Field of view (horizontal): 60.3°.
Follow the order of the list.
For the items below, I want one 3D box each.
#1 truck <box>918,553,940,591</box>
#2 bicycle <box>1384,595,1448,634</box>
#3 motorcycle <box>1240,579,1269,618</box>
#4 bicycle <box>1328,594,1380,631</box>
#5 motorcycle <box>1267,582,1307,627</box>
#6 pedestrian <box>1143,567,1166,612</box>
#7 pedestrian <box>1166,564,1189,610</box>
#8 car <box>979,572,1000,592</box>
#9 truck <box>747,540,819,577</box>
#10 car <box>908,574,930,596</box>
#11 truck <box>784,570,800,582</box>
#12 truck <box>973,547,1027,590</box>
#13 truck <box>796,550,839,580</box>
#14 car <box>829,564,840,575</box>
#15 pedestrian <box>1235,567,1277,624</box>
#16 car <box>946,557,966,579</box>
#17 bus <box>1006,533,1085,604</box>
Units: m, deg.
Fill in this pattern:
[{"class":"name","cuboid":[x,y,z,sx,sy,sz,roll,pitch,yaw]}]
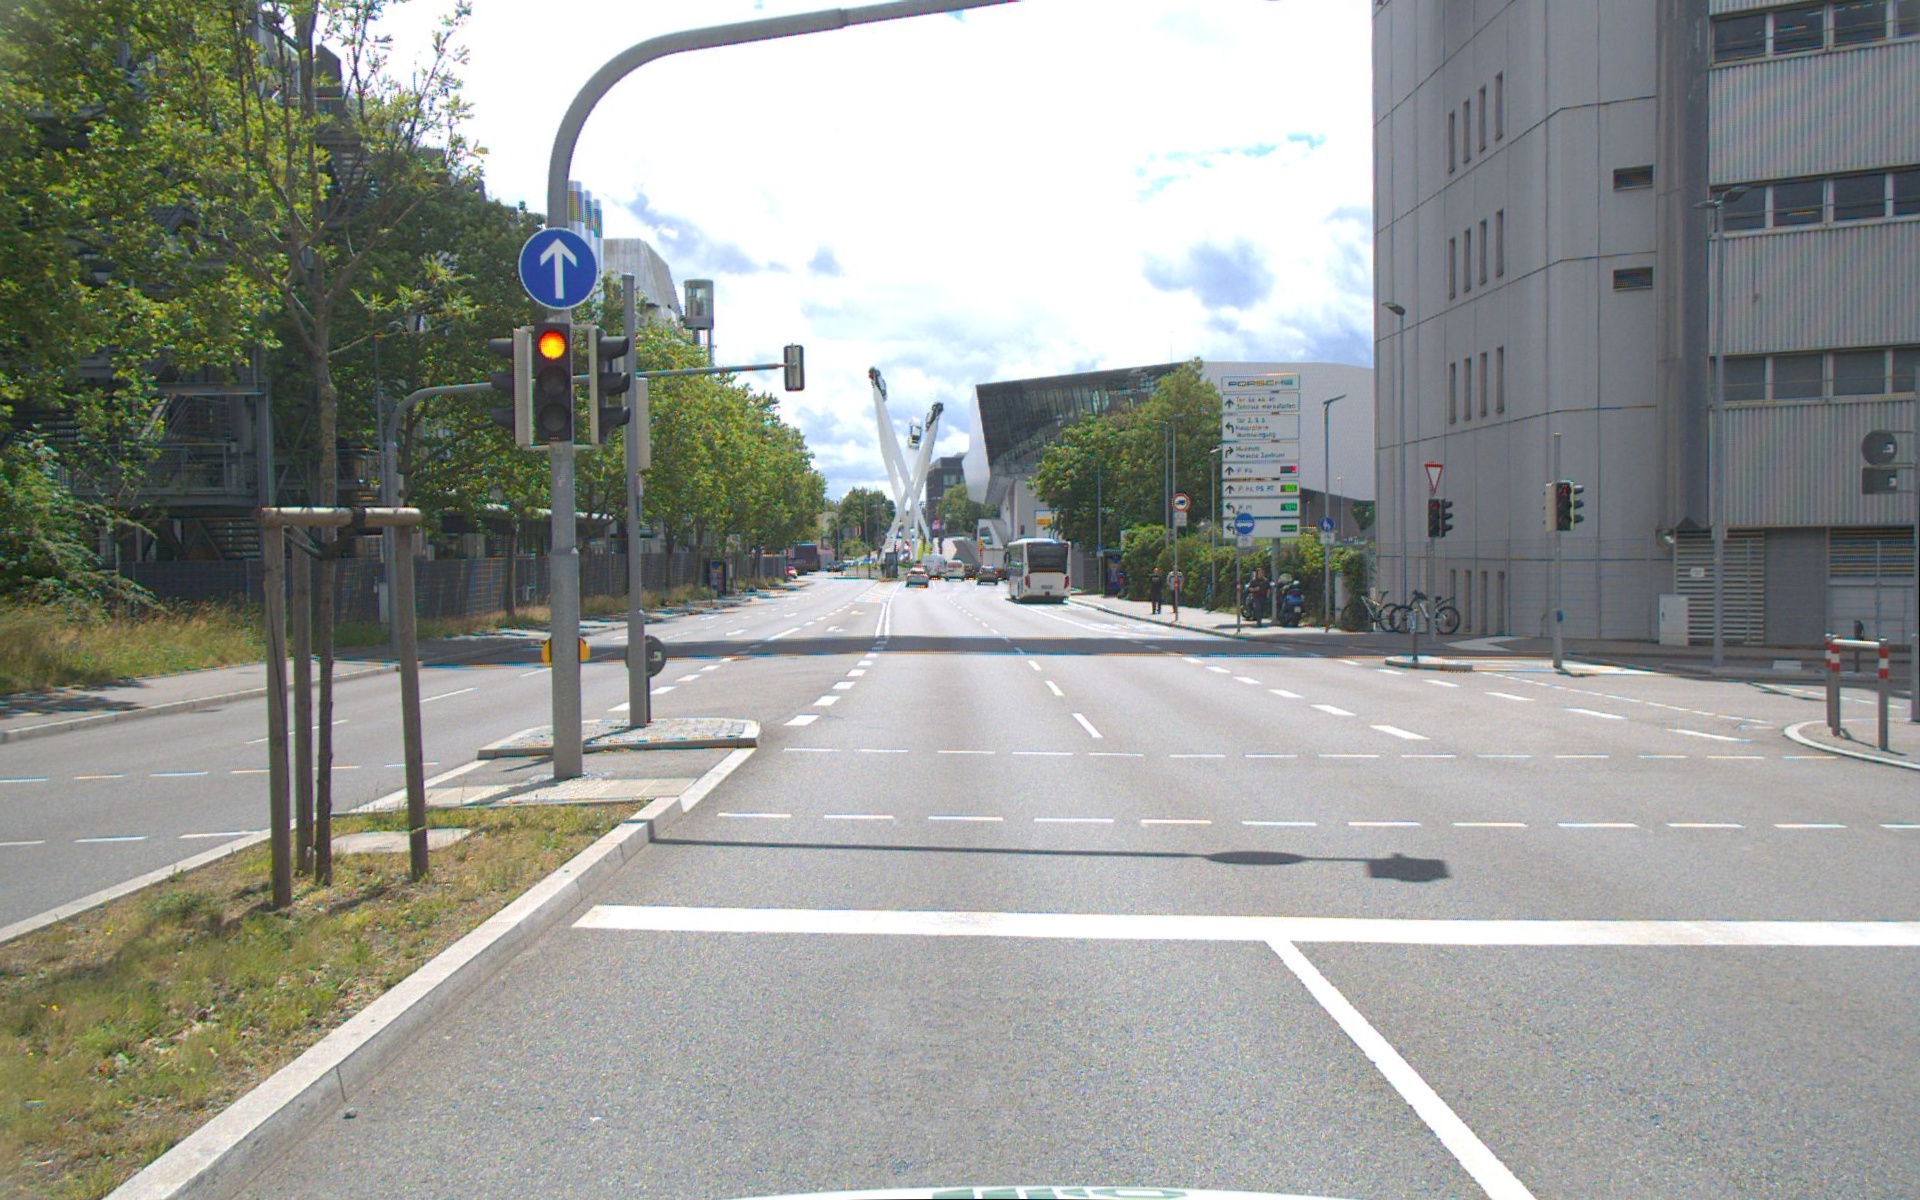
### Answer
[{"class":"truck","cuboid":[-3.271,-2.964,175.106,2.343,3.965,6.176,0,1,-1]},{"class":"bicycle","cuboid":[11.545,0.356,41.921,0.392,0.953,1.912,0,1,-26]},{"class":"motorcycle","cuboid":[9.942,-0.060,55.962,0.562,1.224,2.024,-2,1,-1]},{"class":"bicycle","cuboid":[10.508,0.319,44.191,0.391,0.953,1.917,0,1,-19]},{"class":"motorcycle","cuboid":[9.506,0.127,48.096,0.692,1.224,2.024,-2,1,-1]},{"class":"pedestrian","cuboid":[7.559,-0.419,64.331,0.803,1.737,0.881,0,0,-1]},{"class":"pedestrian","cuboid":[8.474,-0.506,64.364,0.803,1.772,0.637,0,0,-1]},{"class":"car","cuboid":[2.588,-1.597,146.185,1.703,1.772,3.691,0,1,-1]},{"class":"truck","cuboid":[-23.664,-5.519,222.288,3.494,4.400,12.152,1,-1,27]},{"class":"car","cuboid":[-3.247,-1.191,132.627,1.703,1.772,3.691,0,1,-1]},{"class":"truck","cuboid":[-21.131,-3.004,208.055,1.556,1.564,3.666,0,1,-13]},{"class":"truck","cuboid":[4.273,-3.300,174.685,3.379,4.468,9.426,0,1,16]},{"class":"truck","cuboid":[-20.715,-5.054,240.470,2.433,3.962,7.061,0,-1,32]},{"class":"car","cuboid":[-17.667,-4.319,233.151,1.552,1.564,3.675,0,1,-5]},{"class":"pedestrian","cuboid":[8.677,-0.135,48.466,0.834,1.653,0.951,0,0,40]},{"class":"car","cuboid":[-0.431,-3.145,165.594,1.953,2.049,3.999,1,-1,-1]},{"class":"bus","cuboid":[4.538,-1.671,90.377,3.383,3.605,10.602,0,1,-2]}]
